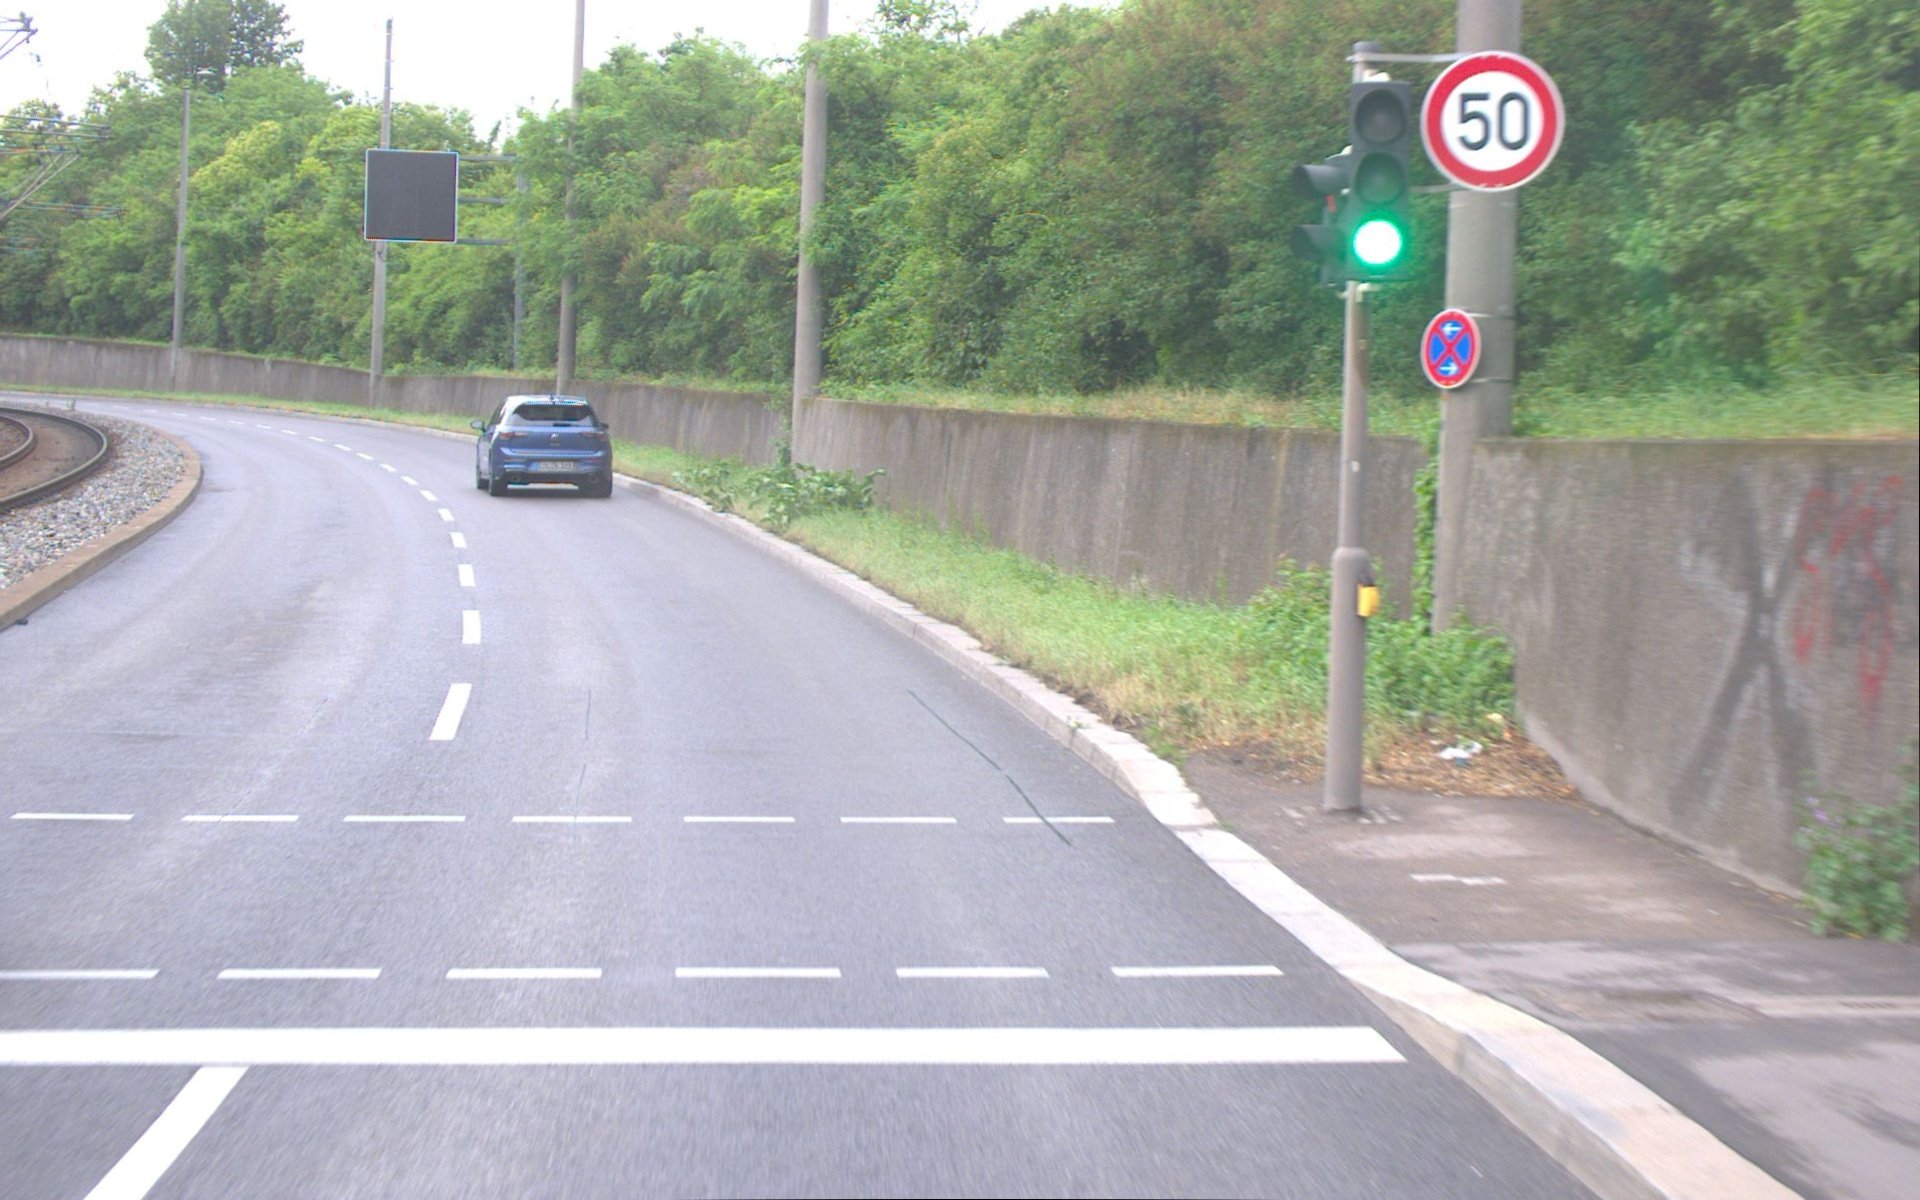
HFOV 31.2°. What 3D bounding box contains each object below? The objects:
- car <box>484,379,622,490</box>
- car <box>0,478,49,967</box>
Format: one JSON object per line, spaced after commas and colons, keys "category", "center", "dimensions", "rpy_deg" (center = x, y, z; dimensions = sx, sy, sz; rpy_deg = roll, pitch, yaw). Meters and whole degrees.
{"category": "car", "center": [-6.008, -2.459, 50.424], "dimensions": [1.763, 1.496, 4.002], "rpy_deg": [2, 3, -10]}
{"category": "car", "center": [-3.865, 0.453, 9.075], "dimensions": [1.871, 1.519, 4.541], "rpy_deg": [0, 2, -2]}
